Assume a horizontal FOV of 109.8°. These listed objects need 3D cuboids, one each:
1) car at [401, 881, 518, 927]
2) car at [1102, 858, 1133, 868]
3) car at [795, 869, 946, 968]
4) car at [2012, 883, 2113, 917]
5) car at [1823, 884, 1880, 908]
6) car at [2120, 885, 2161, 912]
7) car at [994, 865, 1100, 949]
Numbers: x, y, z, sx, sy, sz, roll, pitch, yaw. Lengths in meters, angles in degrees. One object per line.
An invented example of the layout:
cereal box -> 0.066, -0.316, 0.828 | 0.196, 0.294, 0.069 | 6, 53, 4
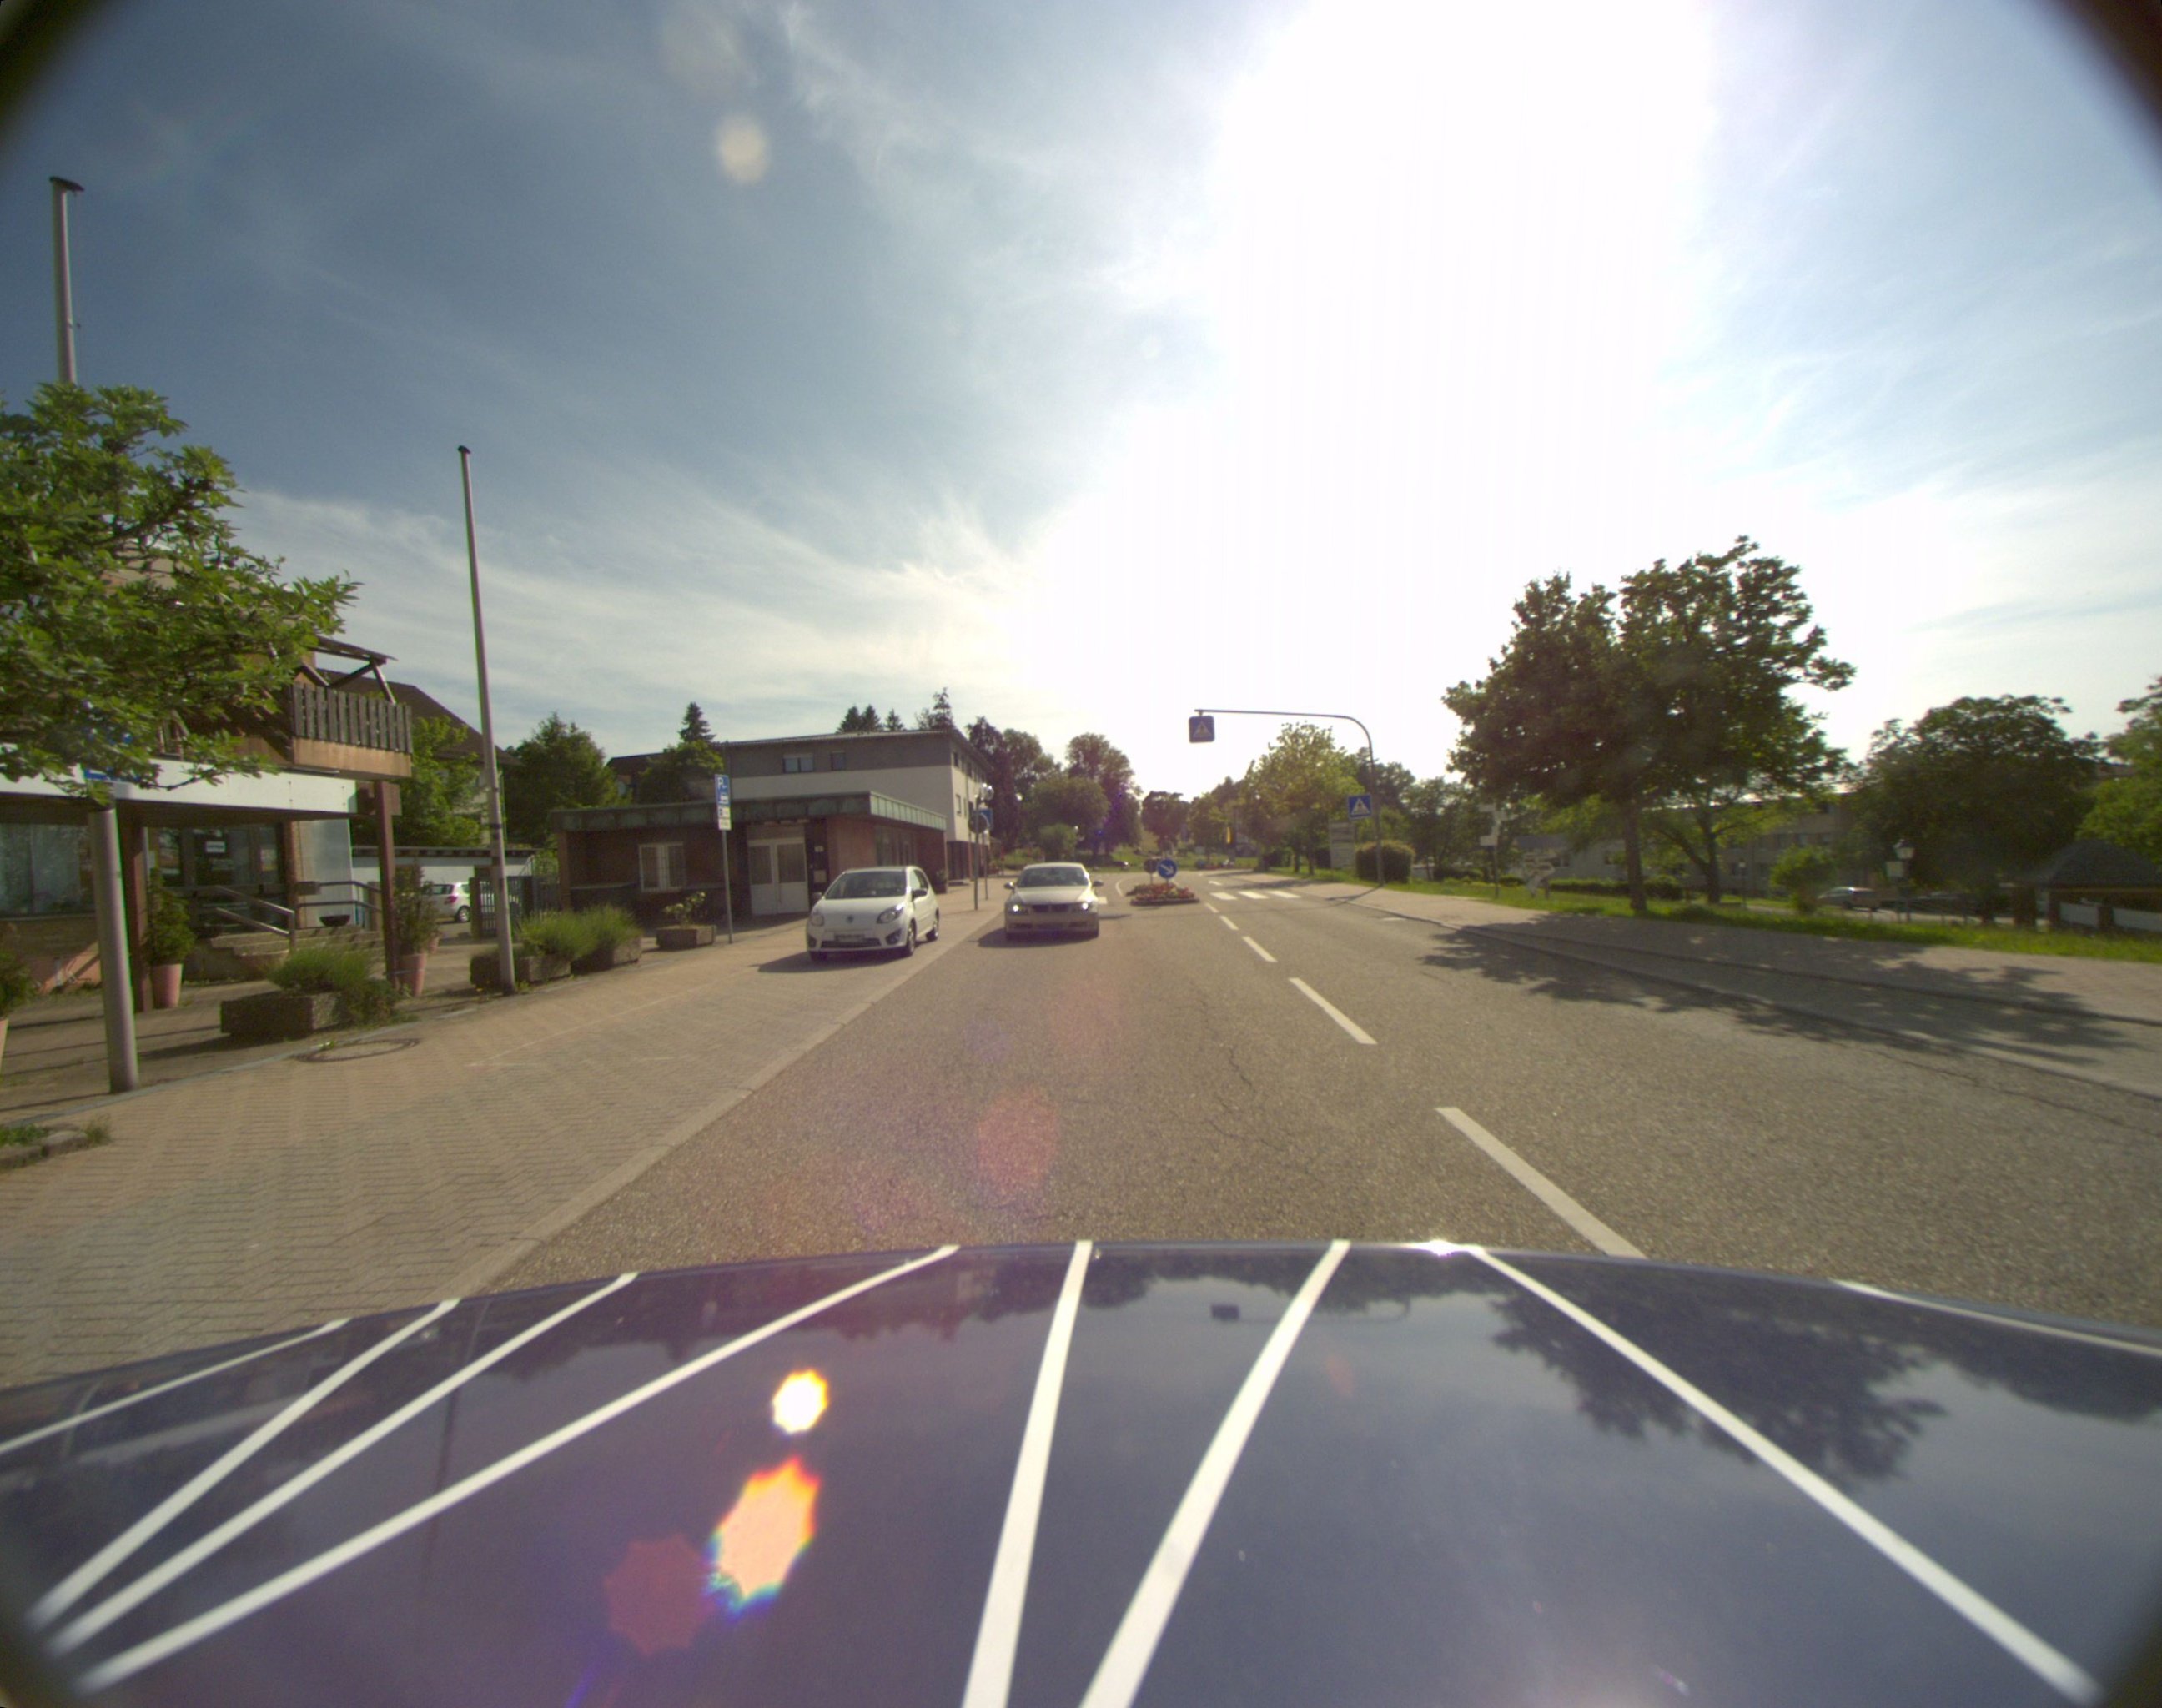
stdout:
car -> -22.692, 1.774, 27.899 | 1.491, 1.475, 3.315 | 0, 0, 2
car -> 5.330, 1.277, 111.729 | 4.254, 1.420, 1.706 | -1, 0, 34
car -> -3.504, 1.008, 13.311 | 1.765, 1.415, 3.632 | -1, 0, -3
car -> 65.978, 3.054, 51.195 | 1.996, 2.002, 4.004 | 1, 0, 12
car -> 55.876, 3.023, 55.181 | 1.565, 1.630, 2.975 | 0, -1, 14
car -> 72.195, 2.991, 50.203 | 1.996, 1.653, 4.004 | 1, 0, 12
car -> -0.550, 0.971, 15.732 | 1.838, 1.360, 4.581 | -1, 0, 1
